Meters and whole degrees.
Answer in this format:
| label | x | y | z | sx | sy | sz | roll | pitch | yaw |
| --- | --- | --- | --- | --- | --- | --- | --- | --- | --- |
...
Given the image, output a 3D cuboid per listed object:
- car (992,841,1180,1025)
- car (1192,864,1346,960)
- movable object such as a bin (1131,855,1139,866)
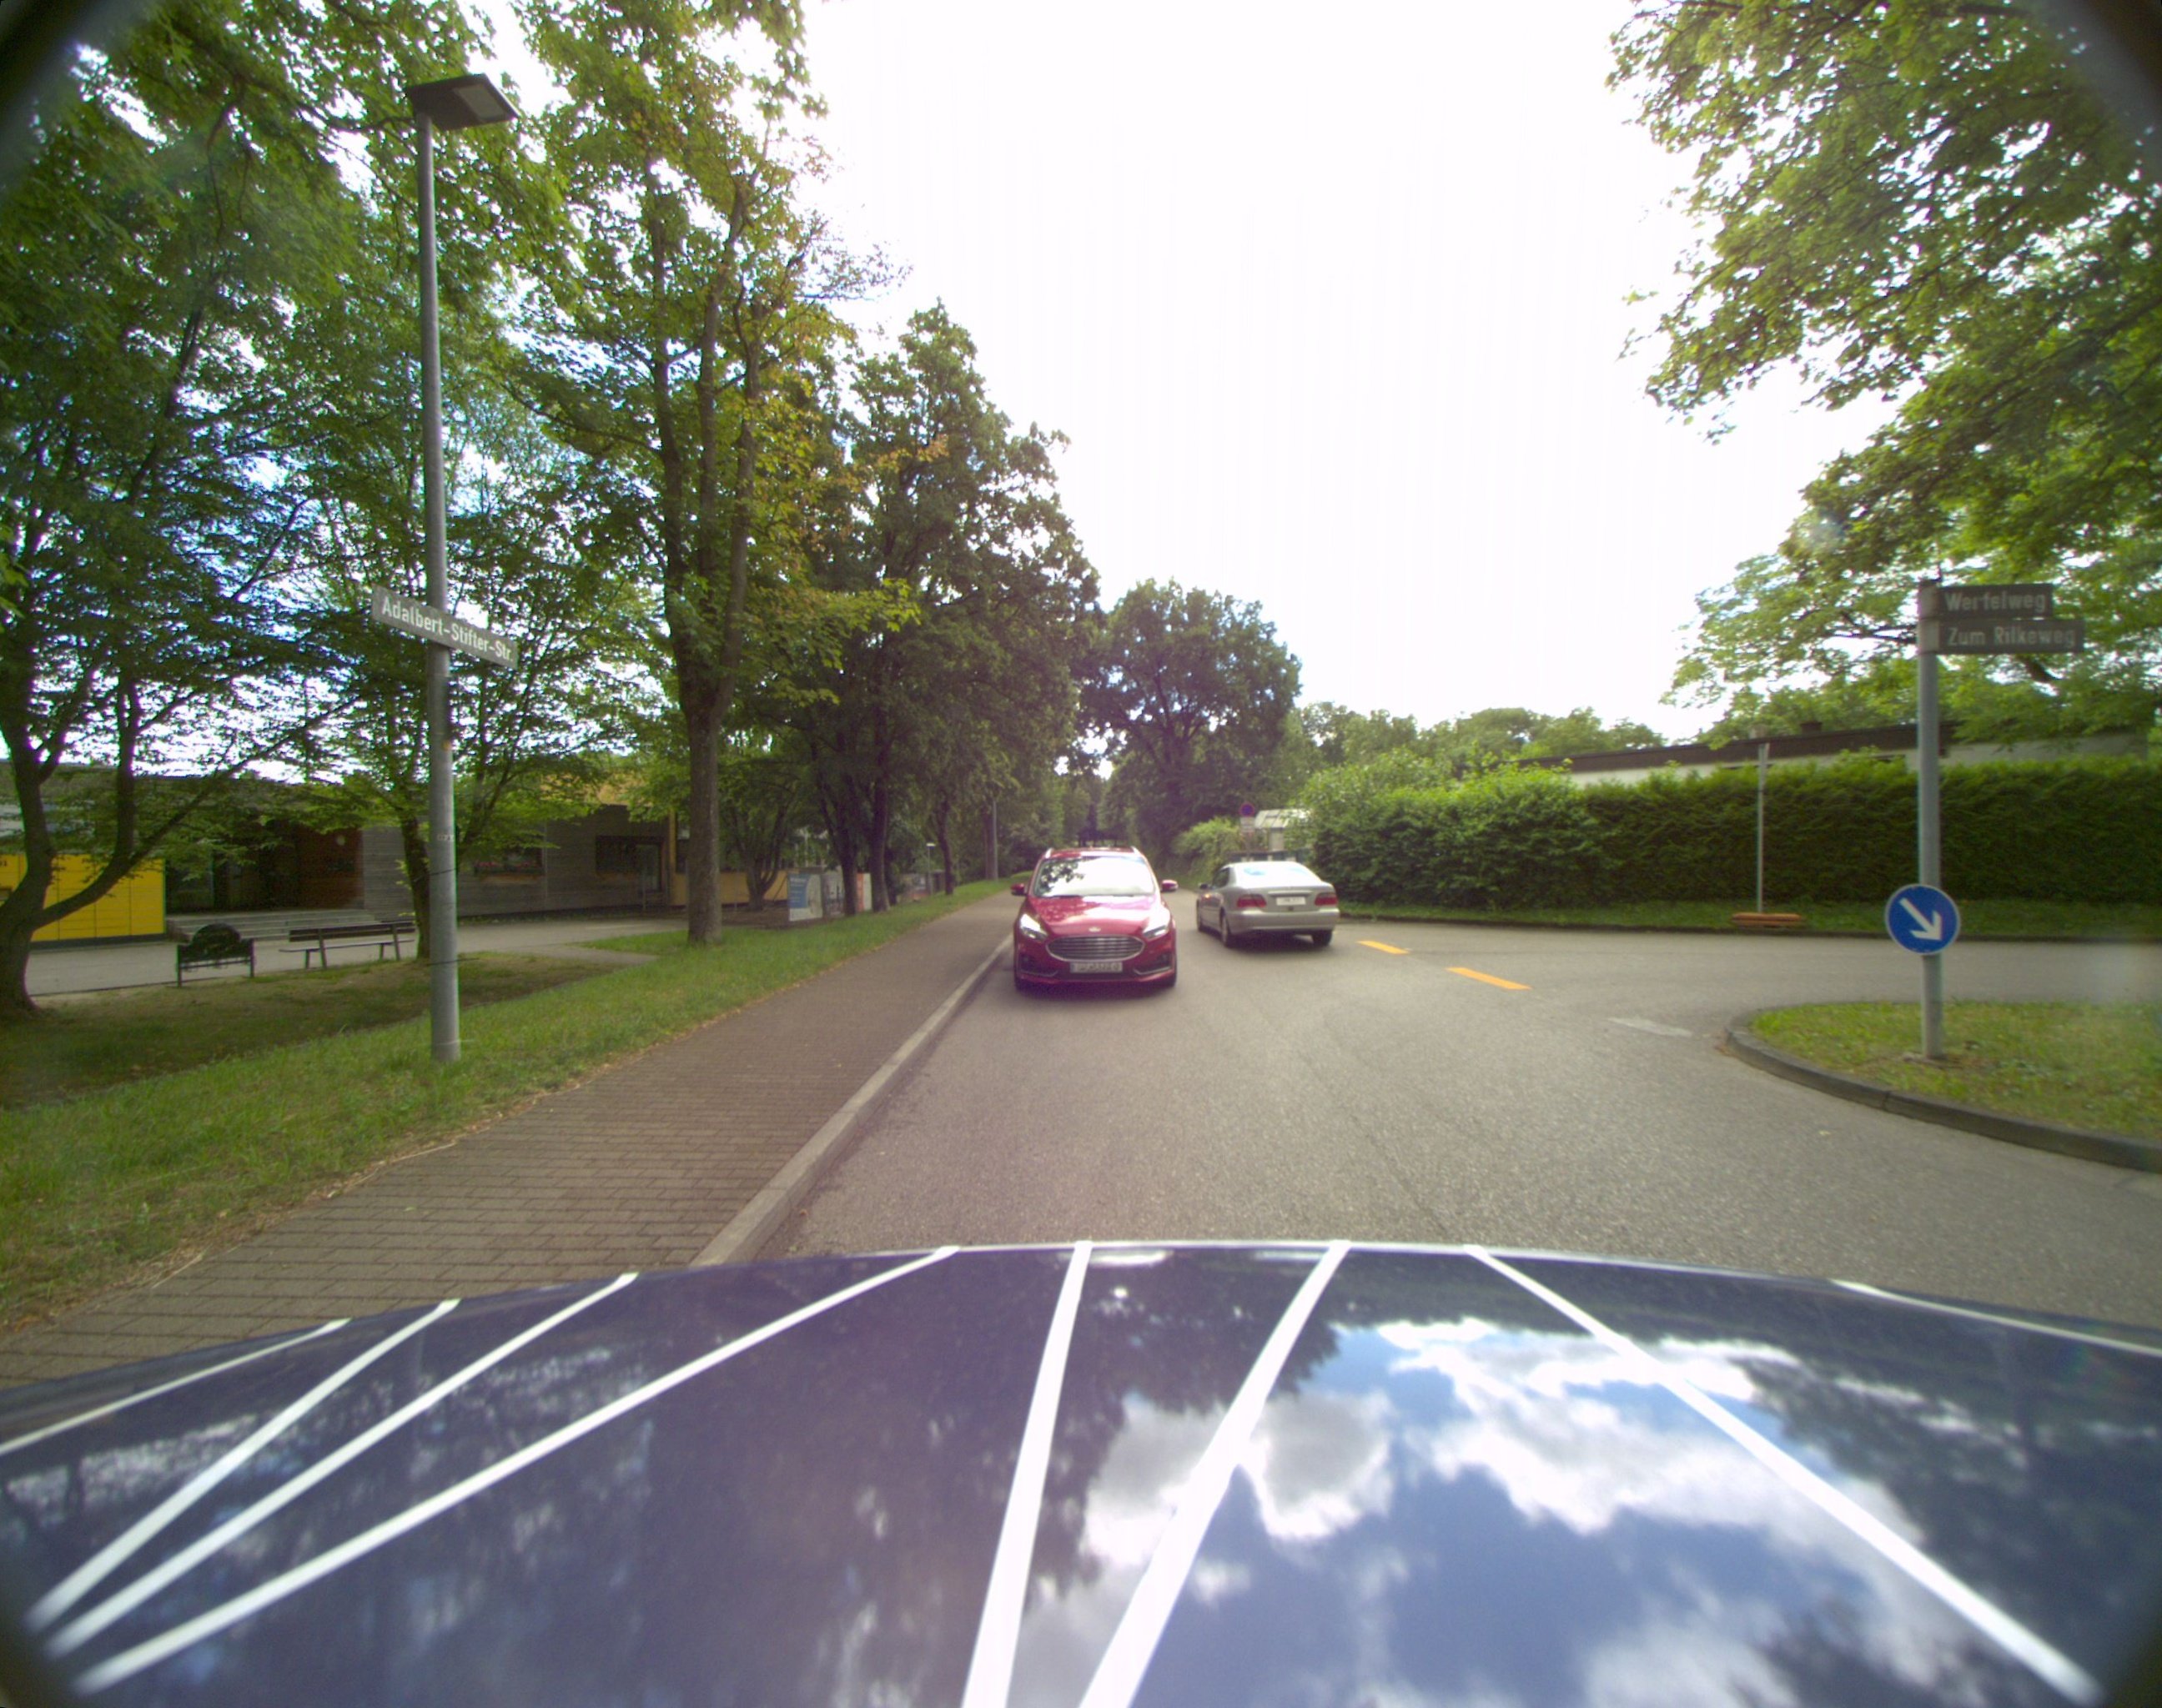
| label | x | y | z | sx | sy | sz | roll | pitch | yaw |
| --- | --- | --- | --- | --- | --- | --- | --- | --- | --- |
| car | 0.239 | 0.732 | 9.412 | 1.816 | 1.718 | 4.001 | 1 | 2 | 6 |
| car | 3.074 | 0.885 | 13.290 | 1.785 | 1.299 | 4.297 | -2 | 0 | 3 |
| movable object such as a bin | 5.313 | 0.637 | 74.682 | 0.649 | 1.007 | 0.632 | 1 | 2 | 16 |
